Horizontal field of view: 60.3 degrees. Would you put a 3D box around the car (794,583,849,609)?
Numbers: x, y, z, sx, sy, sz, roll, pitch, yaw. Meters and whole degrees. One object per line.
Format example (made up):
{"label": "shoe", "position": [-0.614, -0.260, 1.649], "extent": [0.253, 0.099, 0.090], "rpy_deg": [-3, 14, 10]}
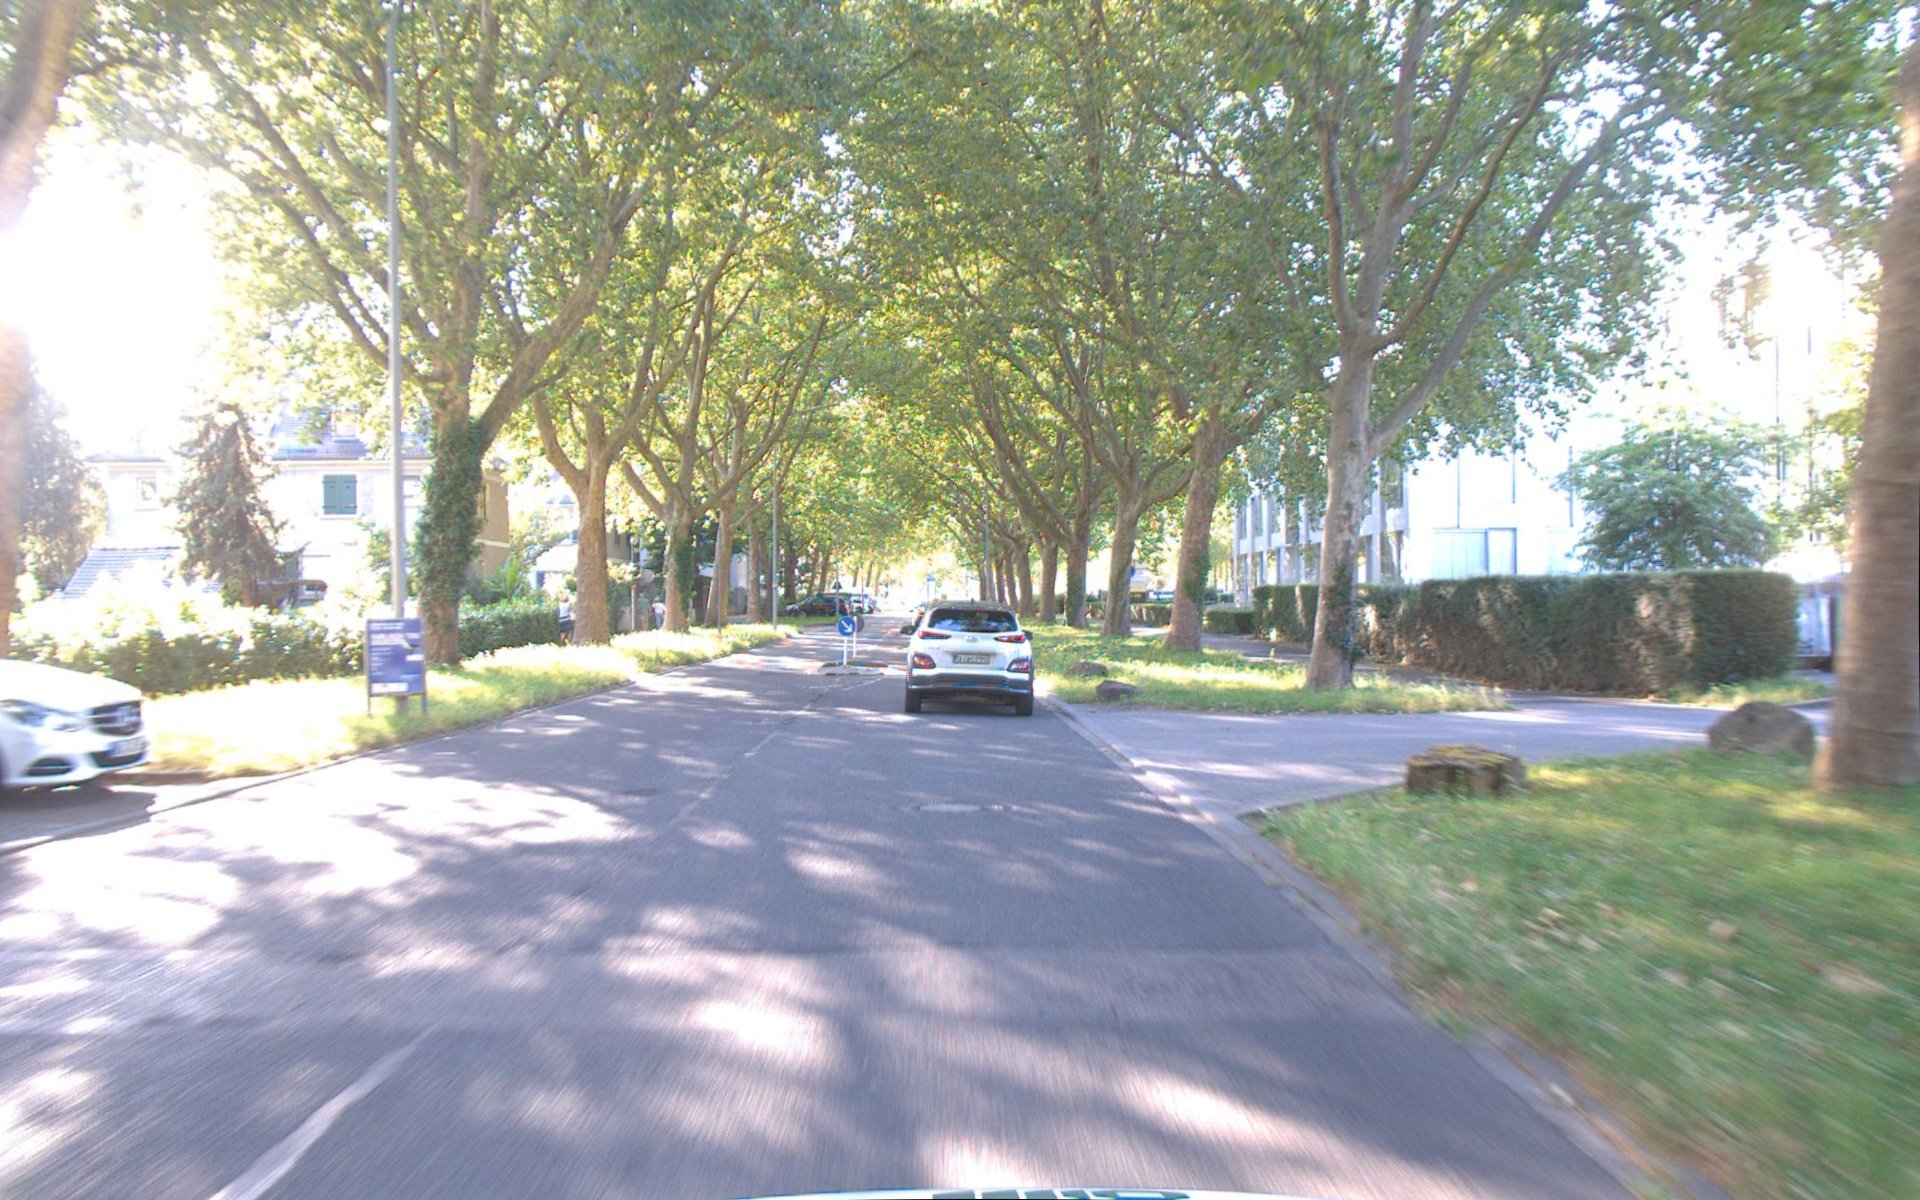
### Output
{"label": "car", "position": [-9.948, -0.271, 118.886], "extent": [3.910, 1.803, 1.997], "rpy_deg": [1, -1, -6]}

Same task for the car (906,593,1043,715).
{"label": "car", "position": [0.150, 0.735, 24.186], "extent": [1.798, 1.583, 3.999], "rpy_deg": [1, 0, -2]}

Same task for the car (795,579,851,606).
{"label": "car", "position": [-9.597, -0.493, 115.785], "extent": [3.910, 1.803, 1.997], "rpy_deg": [1, -1, -6]}

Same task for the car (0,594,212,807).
{"label": "car", "position": [-8.055, 0.704, 12.558], "extent": [3.905, 1.496, 1.809], "rpy_deg": [0, 0, 0]}

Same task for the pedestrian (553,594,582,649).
{"label": "pedestrian", "position": [-12.637, 0.687, 53.294], "extent": [0.734, 1.737, 0.793], "rpy_deg": [1, 0, -1]}

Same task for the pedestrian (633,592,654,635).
{"label": "pedestrian", "position": [-14.176, 0.605, 74.136], "extent": [0.740, 1.907, 0.786], "rpy_deg": [1, -1, -27]}

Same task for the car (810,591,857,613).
{"label": "car", "position": [-10.545, 0.137, 137.802], "extent": [3.910, 1.803, 1.998], "rpy_deg": [0, 0, -6]}

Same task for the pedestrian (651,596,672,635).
{"label": "pedestrian", "position": [-13.492, 0.688, 74.664], "extent": [0.740, 1.737, 0.787], "rpy_deg": [1, -1, -25]}
